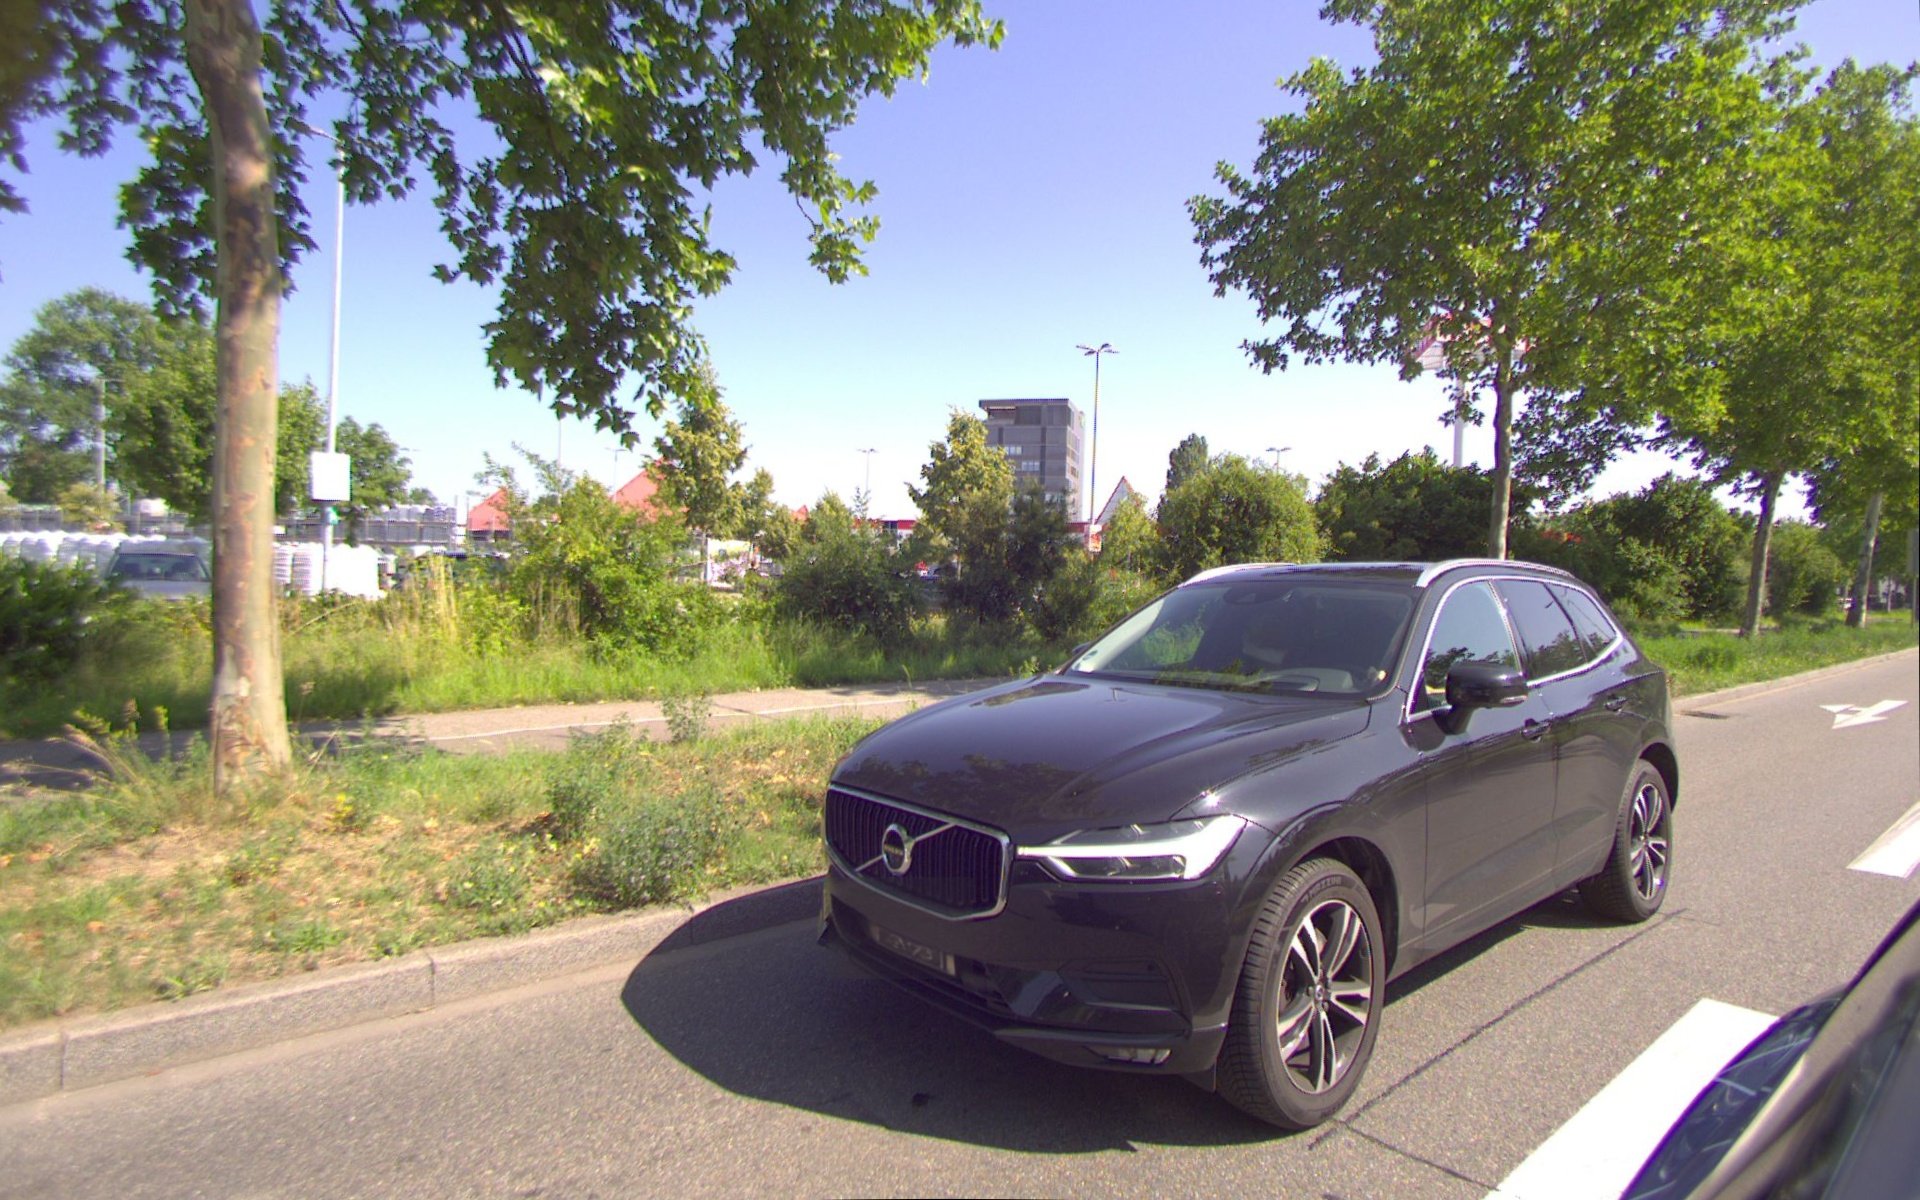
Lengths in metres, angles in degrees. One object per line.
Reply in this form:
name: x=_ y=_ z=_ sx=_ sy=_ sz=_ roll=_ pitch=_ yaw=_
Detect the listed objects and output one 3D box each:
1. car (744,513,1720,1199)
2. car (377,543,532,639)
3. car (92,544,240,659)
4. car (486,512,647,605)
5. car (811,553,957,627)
car: x=1.537 y=0.605 z=4.355 sx=4.486 sy=1.643 sz=1.922 roll=-1 pitch=1 yaw=-41
car: x=-10.058 y=-0.194 z=20.048 sx=3.548 sy=1.717 sz=1.692 roll=1 pitch=1 yaw=44
car: x=-13.442 y=-0.006 z=17.069 sx=1.691 sy=1.717 sz=3.551 roll=0 pitch=1 yaw=-43
car: x=-8.440 y=-0.827 z=21.553 sx=3.987 sy=1.794 sz=1.725 roll=1 pitch=1 yaw=44
car: x=-1.936 y=-0.258 z=24.985 sx=1.658 sy=1.691 sz=3.828 roll=0 pitch=1 yaw=-41
